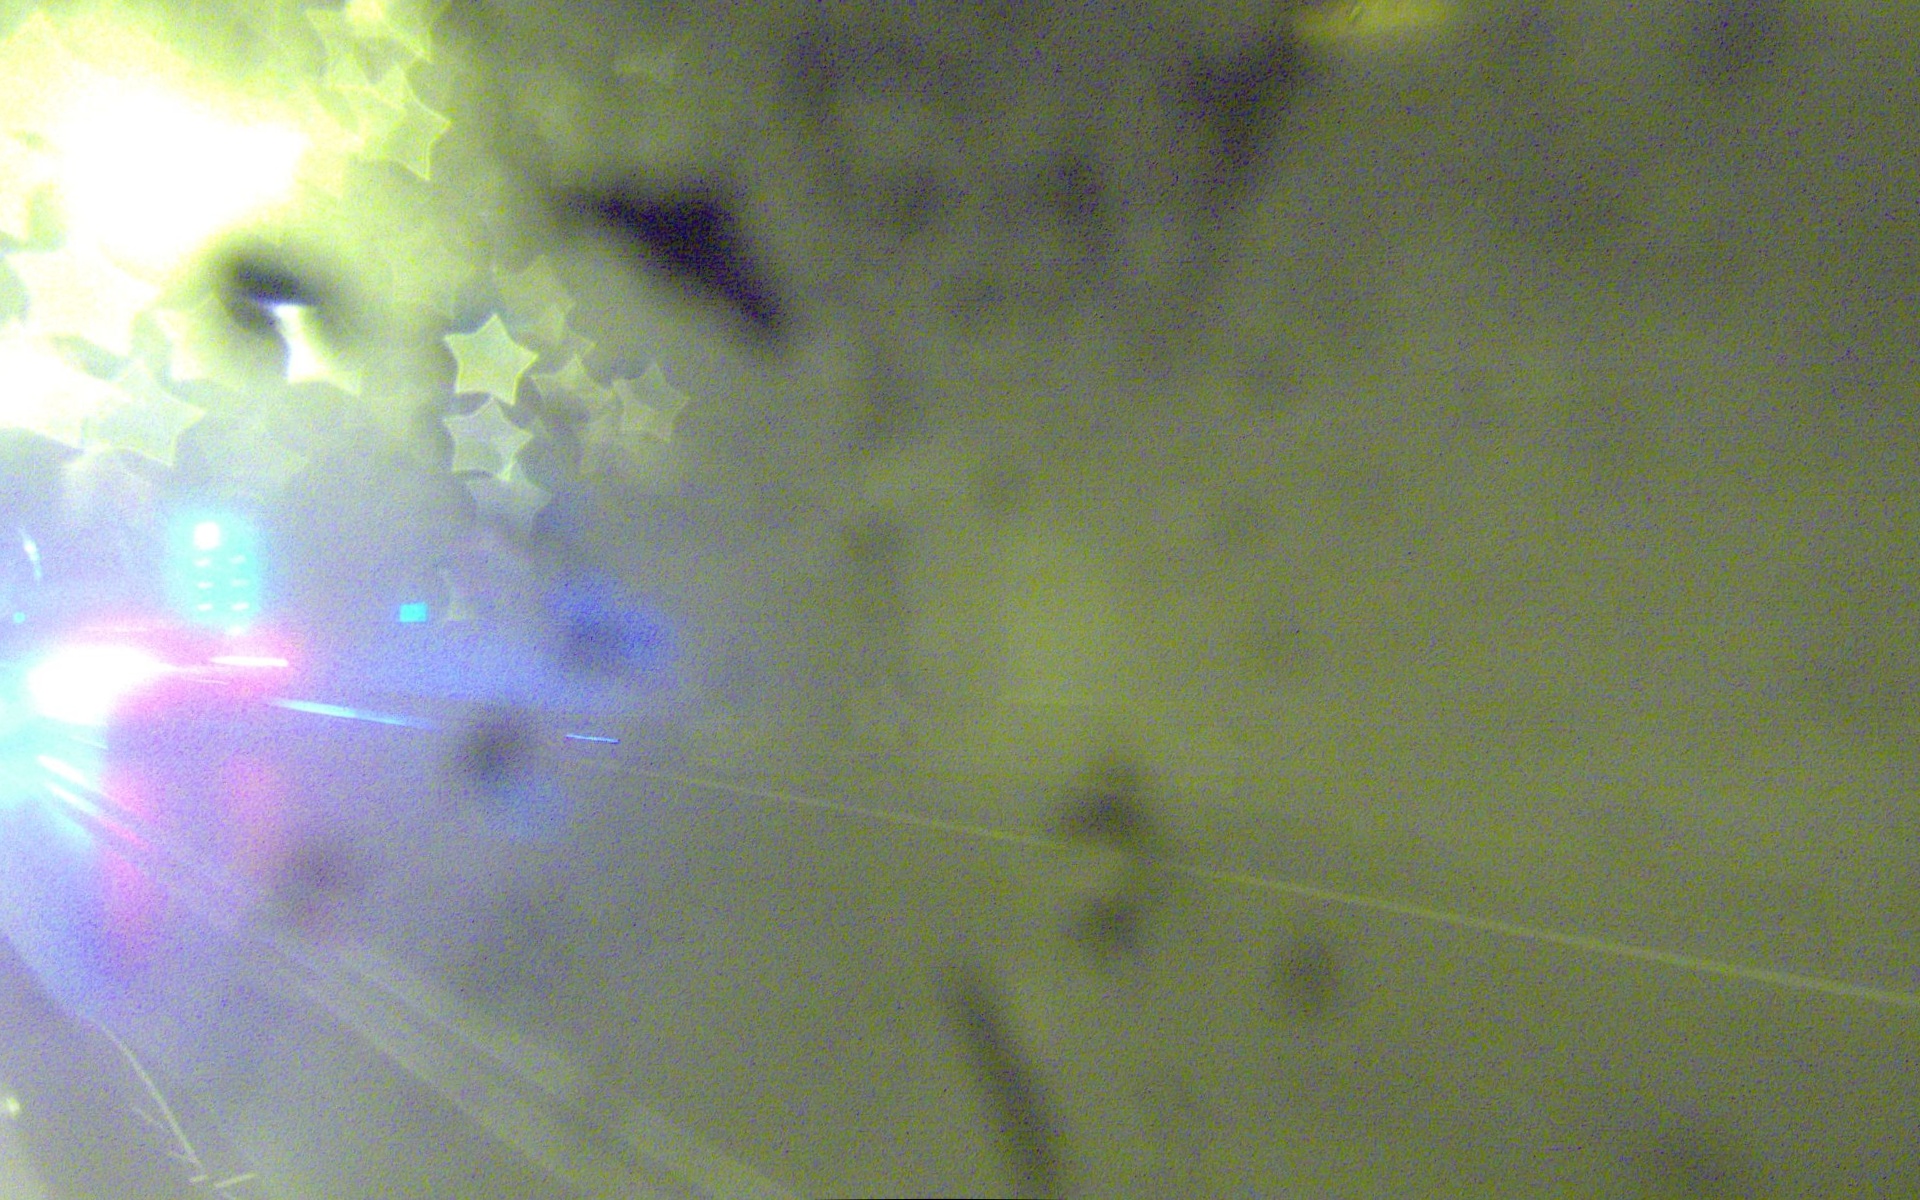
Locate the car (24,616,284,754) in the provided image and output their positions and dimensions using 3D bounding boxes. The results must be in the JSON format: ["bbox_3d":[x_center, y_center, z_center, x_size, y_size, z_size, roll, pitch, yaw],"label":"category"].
[{"bbox_3d":[-10.390,0.949,12.910,4.644,1.394,1.815,-1,0,42],"label":"car"}]

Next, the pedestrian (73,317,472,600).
[{"bbox_3d":[-6.491,-1.043,9.421,3.995,2.029,1.974,-1,0,39],"label":"pedestrian"}]
